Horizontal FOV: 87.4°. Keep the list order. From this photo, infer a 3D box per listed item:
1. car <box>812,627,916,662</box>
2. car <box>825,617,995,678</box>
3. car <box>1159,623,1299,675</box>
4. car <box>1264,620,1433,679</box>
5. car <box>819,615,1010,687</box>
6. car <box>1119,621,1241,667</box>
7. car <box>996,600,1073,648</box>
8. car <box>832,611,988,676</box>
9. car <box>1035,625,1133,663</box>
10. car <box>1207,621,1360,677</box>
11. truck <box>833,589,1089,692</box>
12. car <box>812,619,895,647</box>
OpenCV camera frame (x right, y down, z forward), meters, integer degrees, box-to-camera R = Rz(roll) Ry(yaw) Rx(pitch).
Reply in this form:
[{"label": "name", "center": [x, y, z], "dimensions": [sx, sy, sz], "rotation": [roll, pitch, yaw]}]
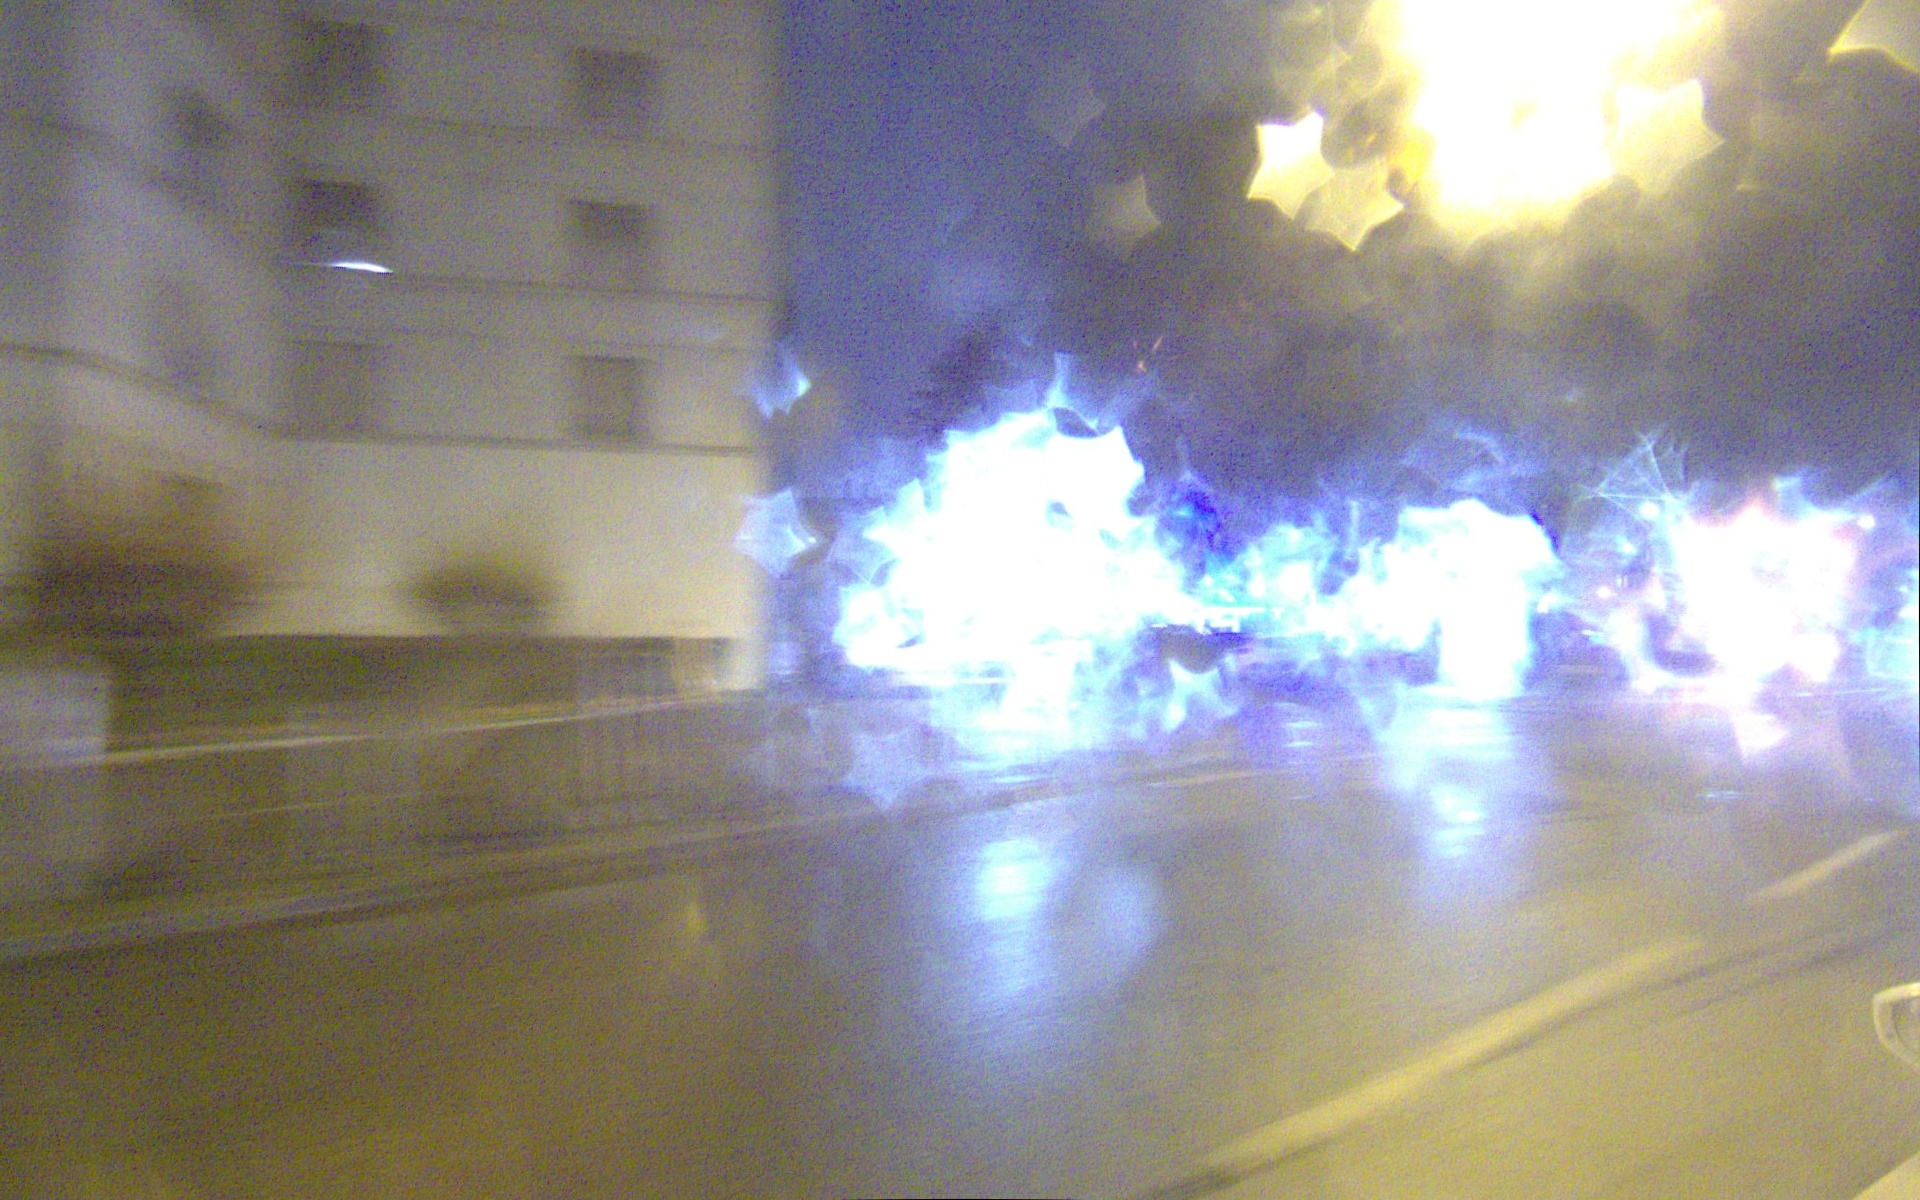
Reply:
[{"label": "car", "center": [-4.282, 1.972, 44.610], "dimensions": [4.414, 1.462, 1.867], "rotation": [1, -1, -11]}, {"label": "car", "center": [-1.395, 1.279, 27.446], "dimensions": [4.414, 1.560, 1.867], "rotation": [1, -1, -11]}, {"label": "car", "center": [8.340, 1.512, 31.266], "dimensions": [3.848, 1.540, 1.716], "rotation": [1, -1, -10]}, {"label": "car", "center": [10.221, 1.289, 26.521], "dimensions": [3.848, 1.450, 1.716], "rotation": [1, -1, -10]}, {"label": "car", "center": [-1.154, 1.229, 24.432], "dimensions": [4.414, 1.634, 1.867], "rotation": [1, -1, -11]}, {"label": "car", "center": [7.767, 1.561, 35.592], "dimensions": [3.848, 1.540, 1.716], "rotation": [1, -1, -10]}, {"label": "car", "center": [4.462, 1.455, 60.122], "dimensions": [4.277, 2.767, 1.716], "rotation": [1, -1, -10]}, {"label": "car", "center": [-1.522, 1.280, 29.898], "dimensions": [4.414, 1.818, 1.867], "rotation": [1, -1, -11]}, {"label": "car", "center": [5.308, 1.895, 43.141], "dimensions": [3.848, 1.540, 1.716], "rotation": [1, -1, -10]}, {"label": "car", "center": [9.285, 1.399, 28.940], "dimensions": [3.848, 1.540, 1.716], "rotation": [1, -1, -10]}, {"label": "truck", "center": [-0.043, 0.839, 21.437], "dimensions": [5.169, 2.040, 2.126], "rotation": [0, -1, -12]}, {"label": "car", "center": [-5.866, 1.798, 55.102], "dimensions": [4.414, 1.462, 1.867], "rotation": [1, -1, -11]}]
